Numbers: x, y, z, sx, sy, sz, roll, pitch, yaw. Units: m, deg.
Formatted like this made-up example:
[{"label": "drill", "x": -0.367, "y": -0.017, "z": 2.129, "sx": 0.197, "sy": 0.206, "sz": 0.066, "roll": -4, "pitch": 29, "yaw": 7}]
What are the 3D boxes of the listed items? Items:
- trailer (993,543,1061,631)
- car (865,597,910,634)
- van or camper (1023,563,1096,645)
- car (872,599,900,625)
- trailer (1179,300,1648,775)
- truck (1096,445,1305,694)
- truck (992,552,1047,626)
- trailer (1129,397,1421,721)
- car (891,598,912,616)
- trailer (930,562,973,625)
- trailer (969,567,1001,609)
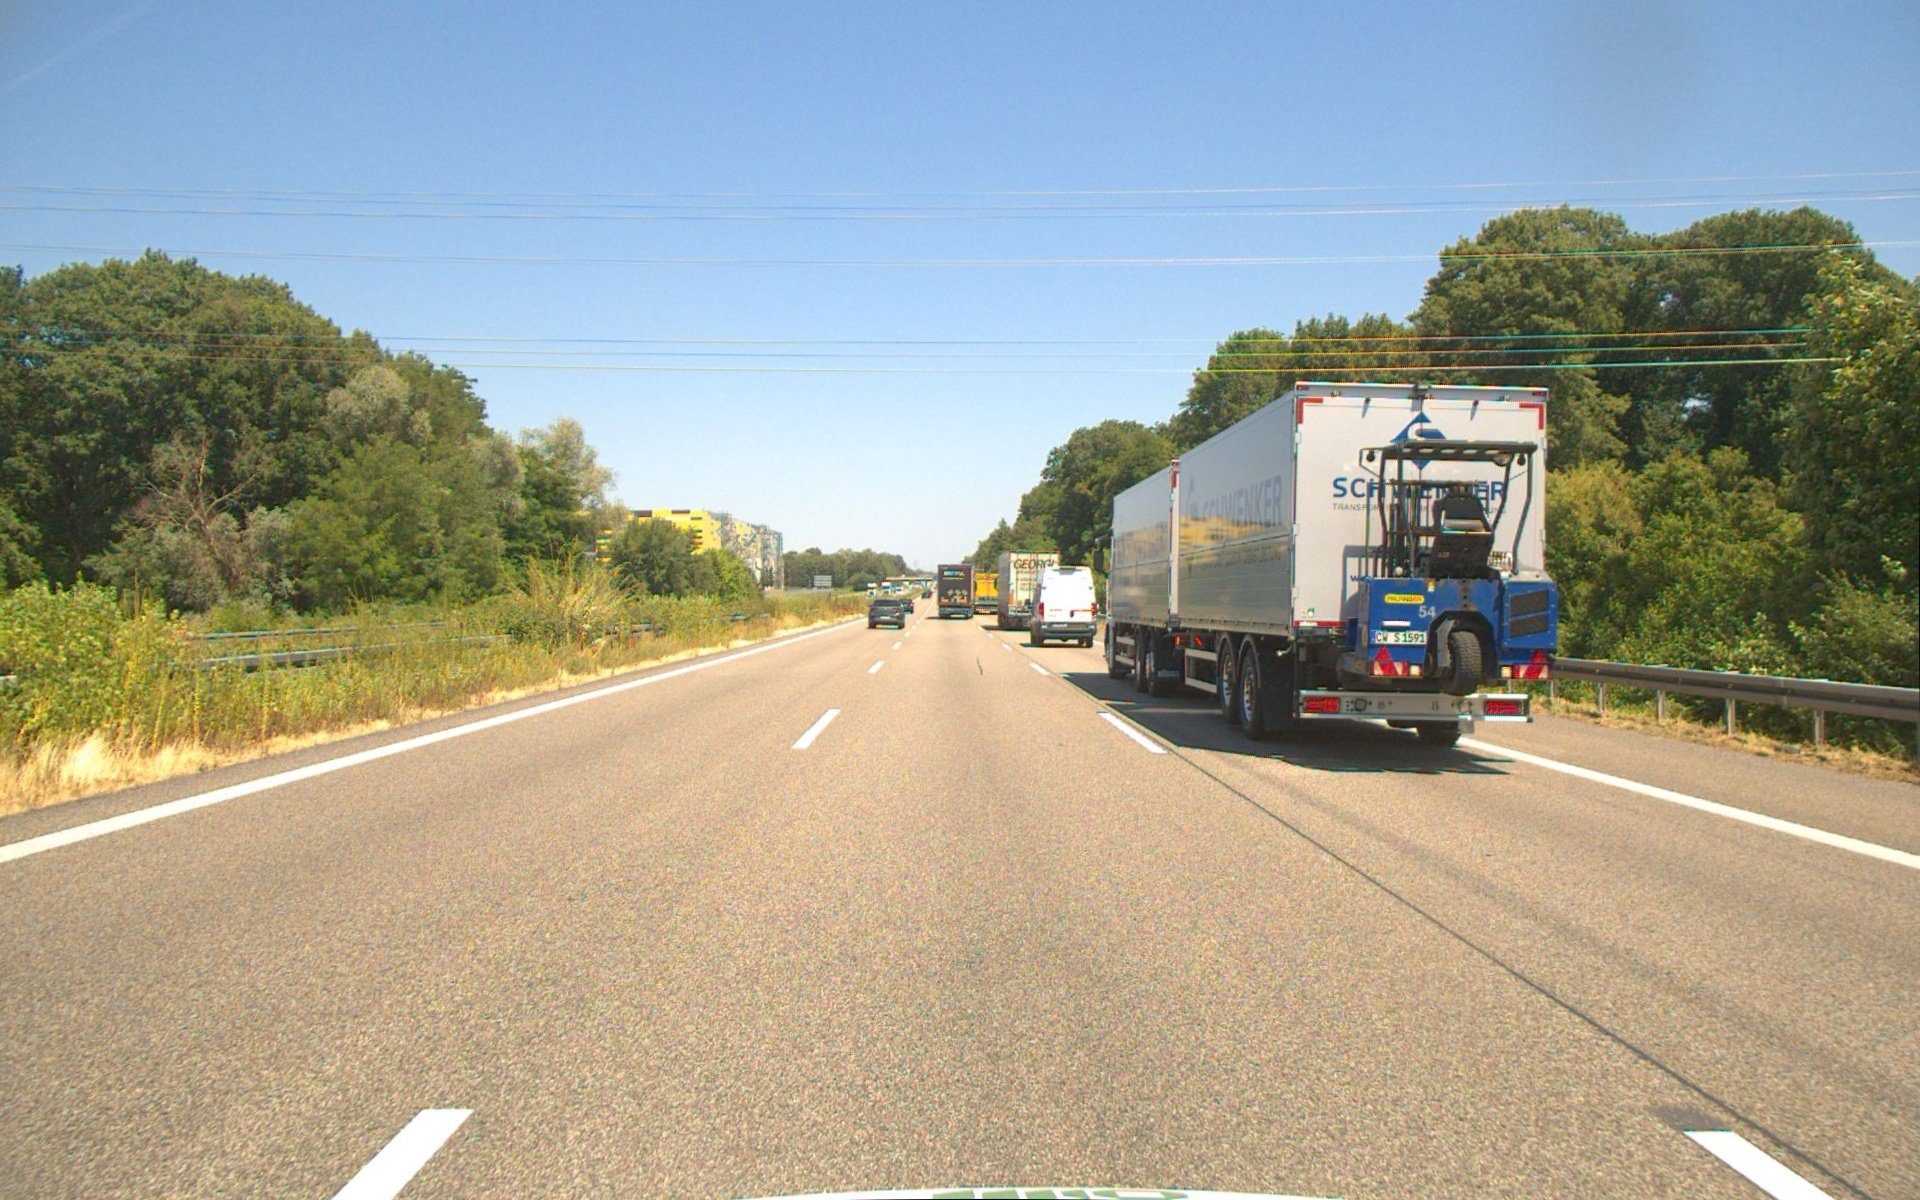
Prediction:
[{"label": "trailer", "x": 3.484, "y": -0.665, "z": 89.512, "sx": 2.933, "sy": 4.364, "sz": 13.415, "roll": 1, "pitch": 0, "yaw": -1}, {"label": "car", "x": -3.754, "y": 0.790, "z": 86.258, "sx": 2.171, "sy": 1.821, "sz": 5.392, "roll": -1, "pitch": 0, "yaw": -1}, {"label": "van or camper", "x": 3.407, "y": 0.107, "z": 57.803, "sx": 1.981, "sy": 2.683, "sz": 6.486, "roll": 1, "pitch": 0, "yaw": -1}, {"label": "car", "x": -5.288, "y": 0.828, "z": 118.212, "sx": 1.953, "sy": 1.758, "sz": 4.129, "roll": 0, "pitch": 0, "yaw": -2}, {"label": "trailer", "x": 4.533, "y": -0.545, "z": 18.605, "sx": 2.885, "sy": 4.134, "sz": 8.126, "roll": 1, "pitch": 0, "yaw": -1}, {"label": "truck", "x": 4.291, "y": -0.512, "z": 31.015, "sx": 2.830, "sy": 4.100, "sz": 6.869, "roll": 1, "pitch": 0, "yaw": -1}, {"label": "truck", "x": 3.409, "y": -0.636, "z": 96.485, "sx": 2.941, "sy": 4.197, "sz": 5.252, "roll": 0, "pitch": 0, "yaw": -1}, {"label": "trailer", "x": 4.427, "y": -0.526, "z": 24.930, "sx": 2.860, "sy": 4.112, "sz": 7.315, "roll": 1, "pitch": 0, "yaw": -1}, {"label": "car", "x": -5.648, "y": 0.690, "z": 159.559, "sx": 1.902, "sy": 1.736, "sz": 3.999, "roll": 0, "pitch": 0, "yaw": -1}, {"label": "trailer", "x": -0.746, "y": -0.494, "z": 129.609, "sx": 3.043, "sy": 4.585, "sz": 14.892, "roll": 1, "pitch": 0, "yaw": -1}, {"label": "trailer", "x": 2.421, "y": -1.216, "z": 163.076, "sx": 2.777, "sy": 4.023, "sz": 11.681, "roll": 0, "pitch": 1, "yaw": -1}]
